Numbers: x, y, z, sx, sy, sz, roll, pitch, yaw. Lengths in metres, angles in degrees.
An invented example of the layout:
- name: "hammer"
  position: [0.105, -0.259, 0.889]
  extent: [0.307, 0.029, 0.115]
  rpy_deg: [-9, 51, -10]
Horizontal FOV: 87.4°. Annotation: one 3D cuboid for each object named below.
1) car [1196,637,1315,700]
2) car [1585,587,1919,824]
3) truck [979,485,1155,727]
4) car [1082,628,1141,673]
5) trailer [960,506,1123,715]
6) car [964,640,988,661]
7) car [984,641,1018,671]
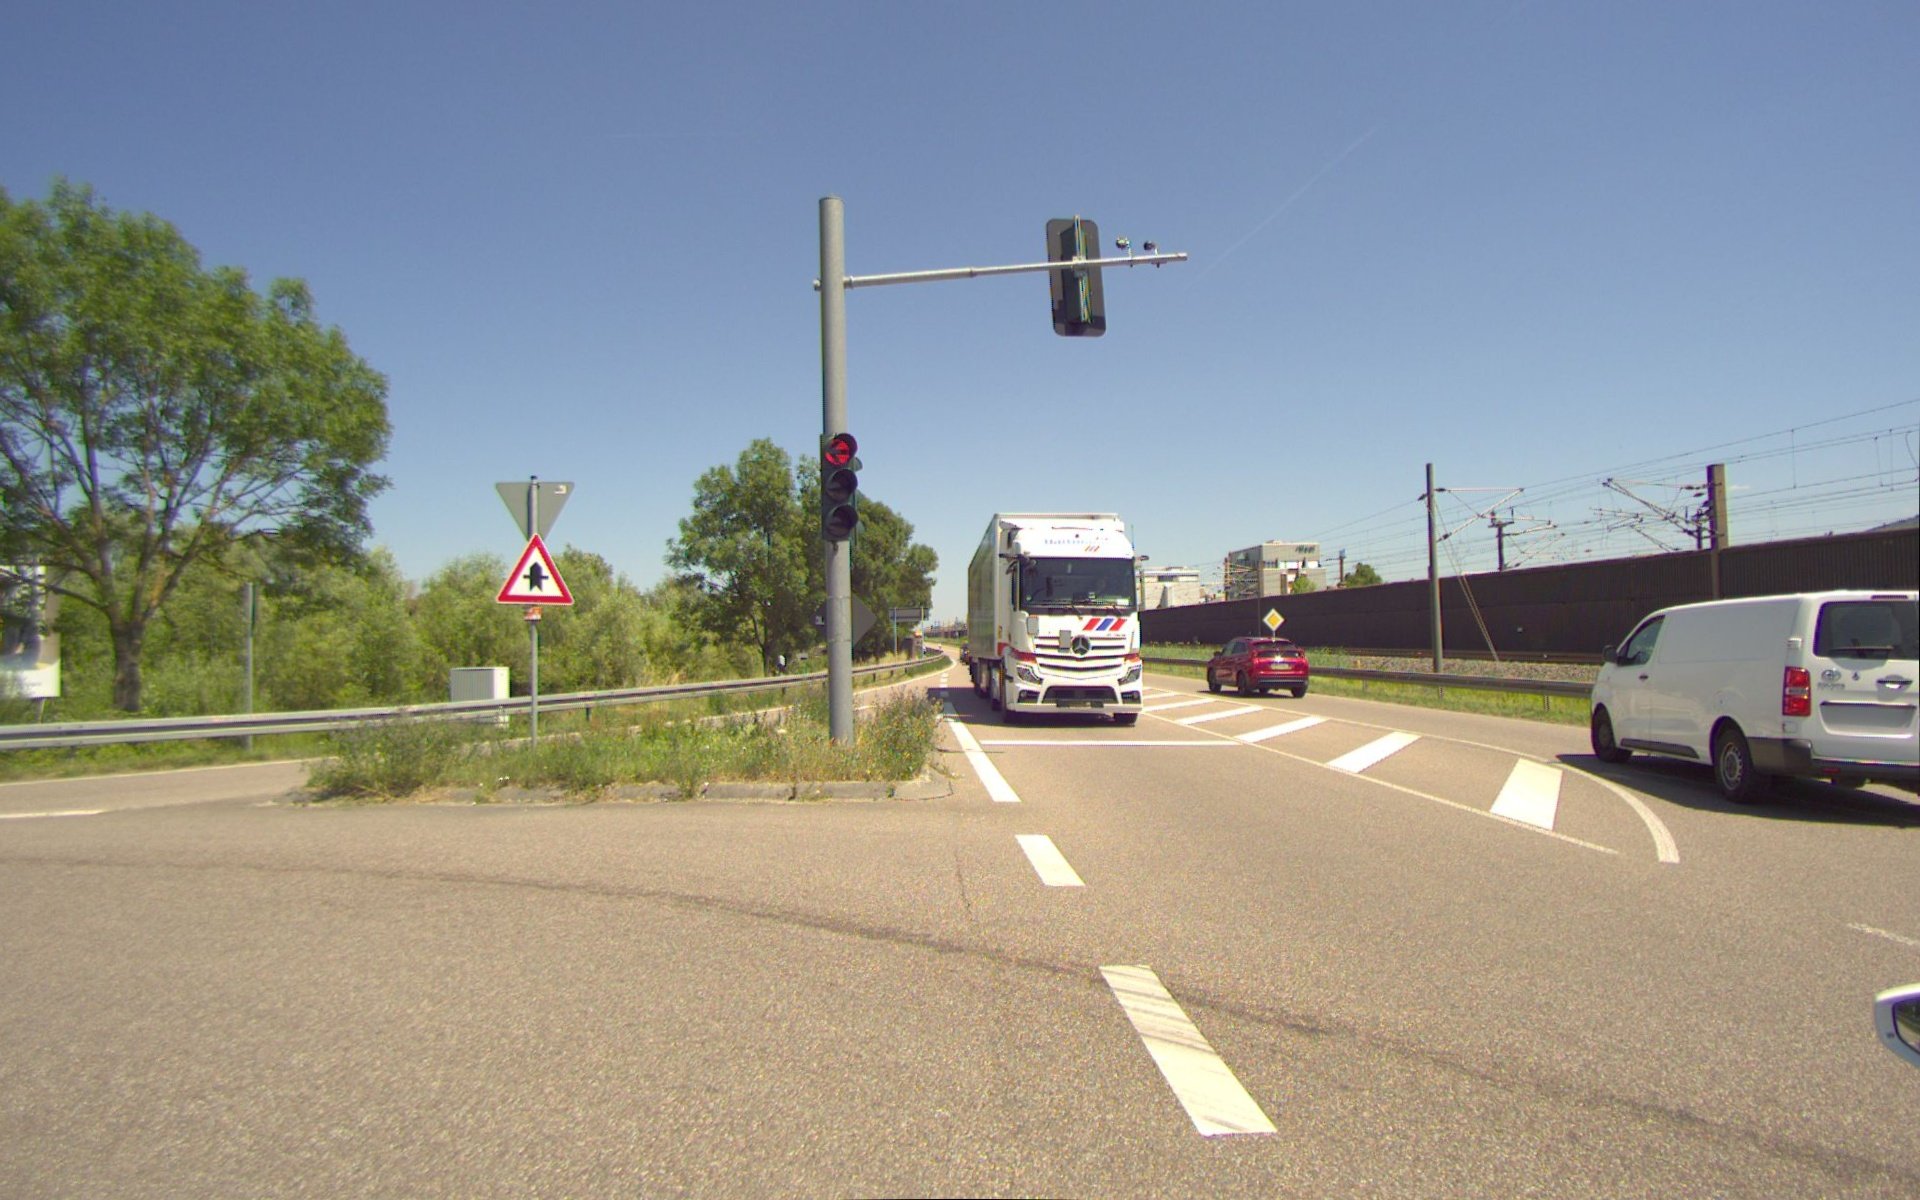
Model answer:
- name: "car"
  position: [8.446, 1.928, 29.084]
  extent: [1.876, 1.671, 4.138]
  rpy_deg: [1, -2, -6]
- name: "car"
  position: [8.407, 0.971, 10.445]
  extent: [1.913, 1.906, 4.884]
  rpy_deg: [0, -3, 15]
- name: "truck"
  position: [1.897, 0.223, 20.041]
  extent: [2.646, 4.098, 5.825]
  rpy_deg: [1, -2, -2]
- name: "car"
  position: [7.248, 2.407, 48.493]
  extent: [1.974, 2.049, 4.783]
  rpy_deg: [0, -2, -2]
- name: "trailer"
  position: [1.620, 0.508, 26.858]
  extent: [2.646, 4.098, 14.124]
  rpy_deg: [1, -2, -2]
- name: "car"
  position: [1.157, 3.756, 74.883]
  extent: [1.658, 1.479, 4.616]
  rpy_deg: [1, -2, -1]
- name: "car"
  position: [2.127, 2.936, 53.479]
  extent: [1.626, 1.498, 4.631]
  rpy_deg: [0, -2, 0]
